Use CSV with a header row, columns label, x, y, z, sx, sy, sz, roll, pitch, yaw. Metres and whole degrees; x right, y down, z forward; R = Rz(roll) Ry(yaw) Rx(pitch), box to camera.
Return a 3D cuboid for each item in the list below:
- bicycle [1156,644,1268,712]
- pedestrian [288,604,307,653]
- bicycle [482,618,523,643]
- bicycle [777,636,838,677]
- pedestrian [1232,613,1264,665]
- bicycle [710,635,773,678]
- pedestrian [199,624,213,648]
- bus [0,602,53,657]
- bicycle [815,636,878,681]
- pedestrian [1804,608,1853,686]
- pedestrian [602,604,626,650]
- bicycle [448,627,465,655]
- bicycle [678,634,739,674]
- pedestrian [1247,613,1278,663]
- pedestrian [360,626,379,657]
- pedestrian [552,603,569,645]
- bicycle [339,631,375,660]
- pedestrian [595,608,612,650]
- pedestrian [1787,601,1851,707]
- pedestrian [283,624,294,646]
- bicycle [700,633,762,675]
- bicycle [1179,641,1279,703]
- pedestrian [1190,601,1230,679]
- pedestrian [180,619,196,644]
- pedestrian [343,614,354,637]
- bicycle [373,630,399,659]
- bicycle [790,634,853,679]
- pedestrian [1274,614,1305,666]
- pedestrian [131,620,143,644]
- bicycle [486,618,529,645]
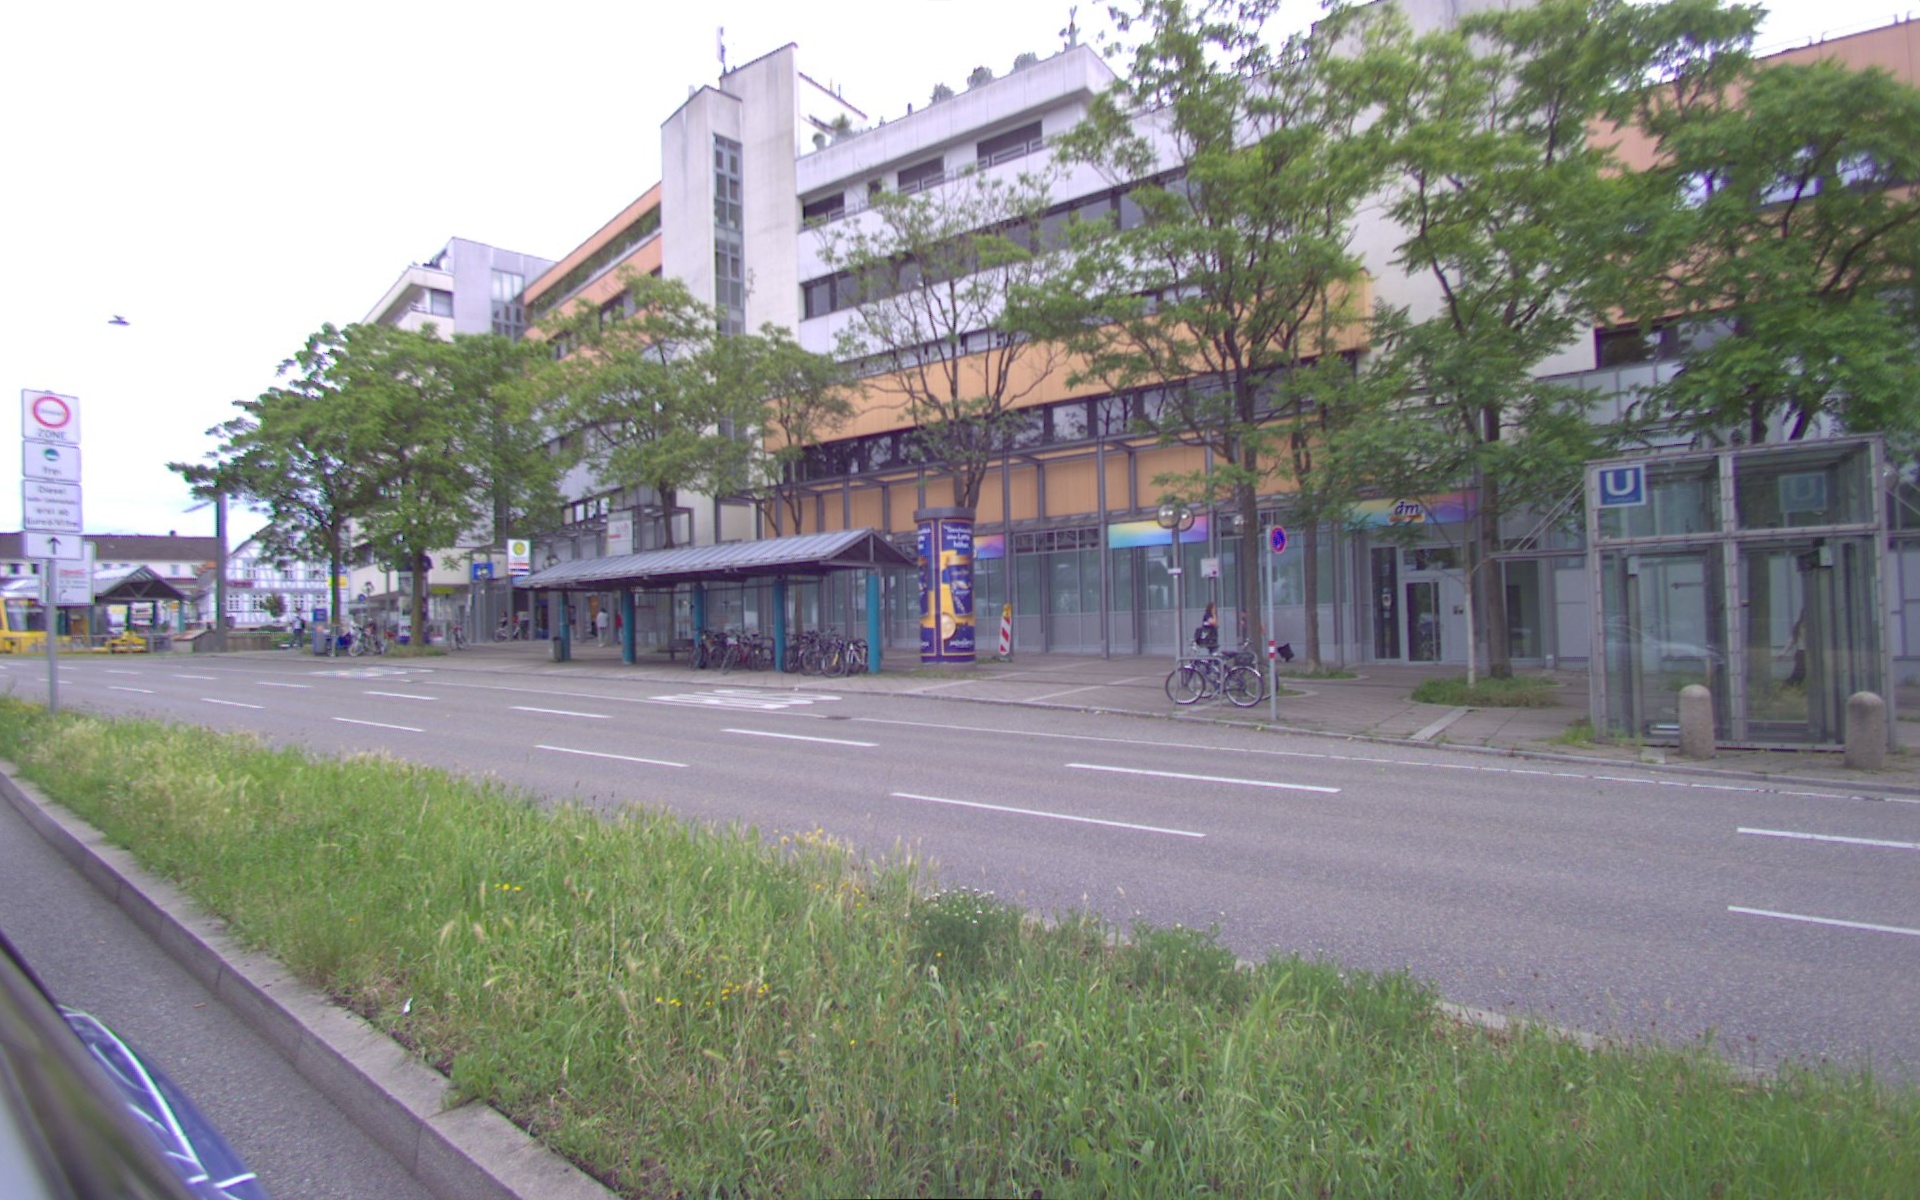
label,x,y,z,sx,sy,sz,roll,pitch,yaw
bicycle,4.363,1.326,17.598,0.802,1.068,1.739,0,-1,-40
pedestrian,-31.381,1.351,47.955,0.608,2.325,0.583,-1,-2,39
bicycle,-26.101,1.742,57.766,2.106,1.377,0.621,-1,0,-24
bicycle,-4.142,1.518,27.560,0.549,1.048,1.714,-2,-1,38
pedestrian,7.913,1.066,27.760,0.694,1.385,0.578,-1,-2,34
bicycle,-5.965,1.533,27.722,0.549,1.048,1.714,-2,1,38
pedestrian,-50.135,2.404,67.315,0.581,1.554,0.570,-1,-2,32
bus,-55.987,1.695,58.615,8.470,3.006,2.530,-1,-2,29
bicycle,-2.909,1.477,26.060,0.549,1.048,1.714,-2,0,38
pedestrian,17.168,0.918,20.020,0.620,1.515,0.562,-1,-2,32
pedestrian,-15.500,1.196,45.310,0.794,2.029,0.701,-1,0,40
bicycle,-21.356,1.713,42.929,0.584,1.134,2.044,1,-1,-26
bicycle,-7.238,1.539,29.149,0.549,1.048,1.714,-2,0,38
pedestrian,8.464,1.059,28.309,0.694,1.385,0.578,-1,-2,34
pedestrian,-35.693,2.519,61.151,0.752,1.859,0.755,-1,-2,41
pedestrian,-19.466,1.160,49.274,0.558,2.029,0.611,1,-2,-44
bicycle,-23.618,1.772,39.651,0.585,1.085,2.042,0,-1,-12
pedestrian,-15.478,1.247,43.907,0.639,1.823,0.761,0,-2,-16
pedestrian,13.929,0.861,16.434,0.721,1.662,0.669,-1,-1,37
pedestrian,-45.707,2.369,68.930,0.548,1.506,0.454,1,-2,-41
bicycle,-6.459,1.516,28.584,0.549,1.048,1.714,-2,1,38
bicycle,4.980,1.315,18.790,1.737,1.074,0.542,-2,-1,45
pedestrian,5.886,0.932,23.820,0.769,1.800,0.525,-1,-2,33
pedestrian,-62.538,2.539,81.975,0.867,2.029,1.010,1,-2,-44
pedestrian,-30.935,1.290,51.194,0.368,1.188,0.338,-1,-2,31
bicycle,-22.751,1.759,40.109,0.584,1.085,2.044,0,-1,-21
bicycle,-3.618,1.461,26.593,0.549,1.048,1.714,-2,0,38
pedestrian,9.036,1.090,27.752,0.694,1.385,0.578,-1,-2,34
pedestrian,-70.481,2.734,86.680,0.731,2.029,0.940,1,-2,-39
bicycle,-24.952,1.732,55.788,2.107,1.385,0.621,-1,0,-31
